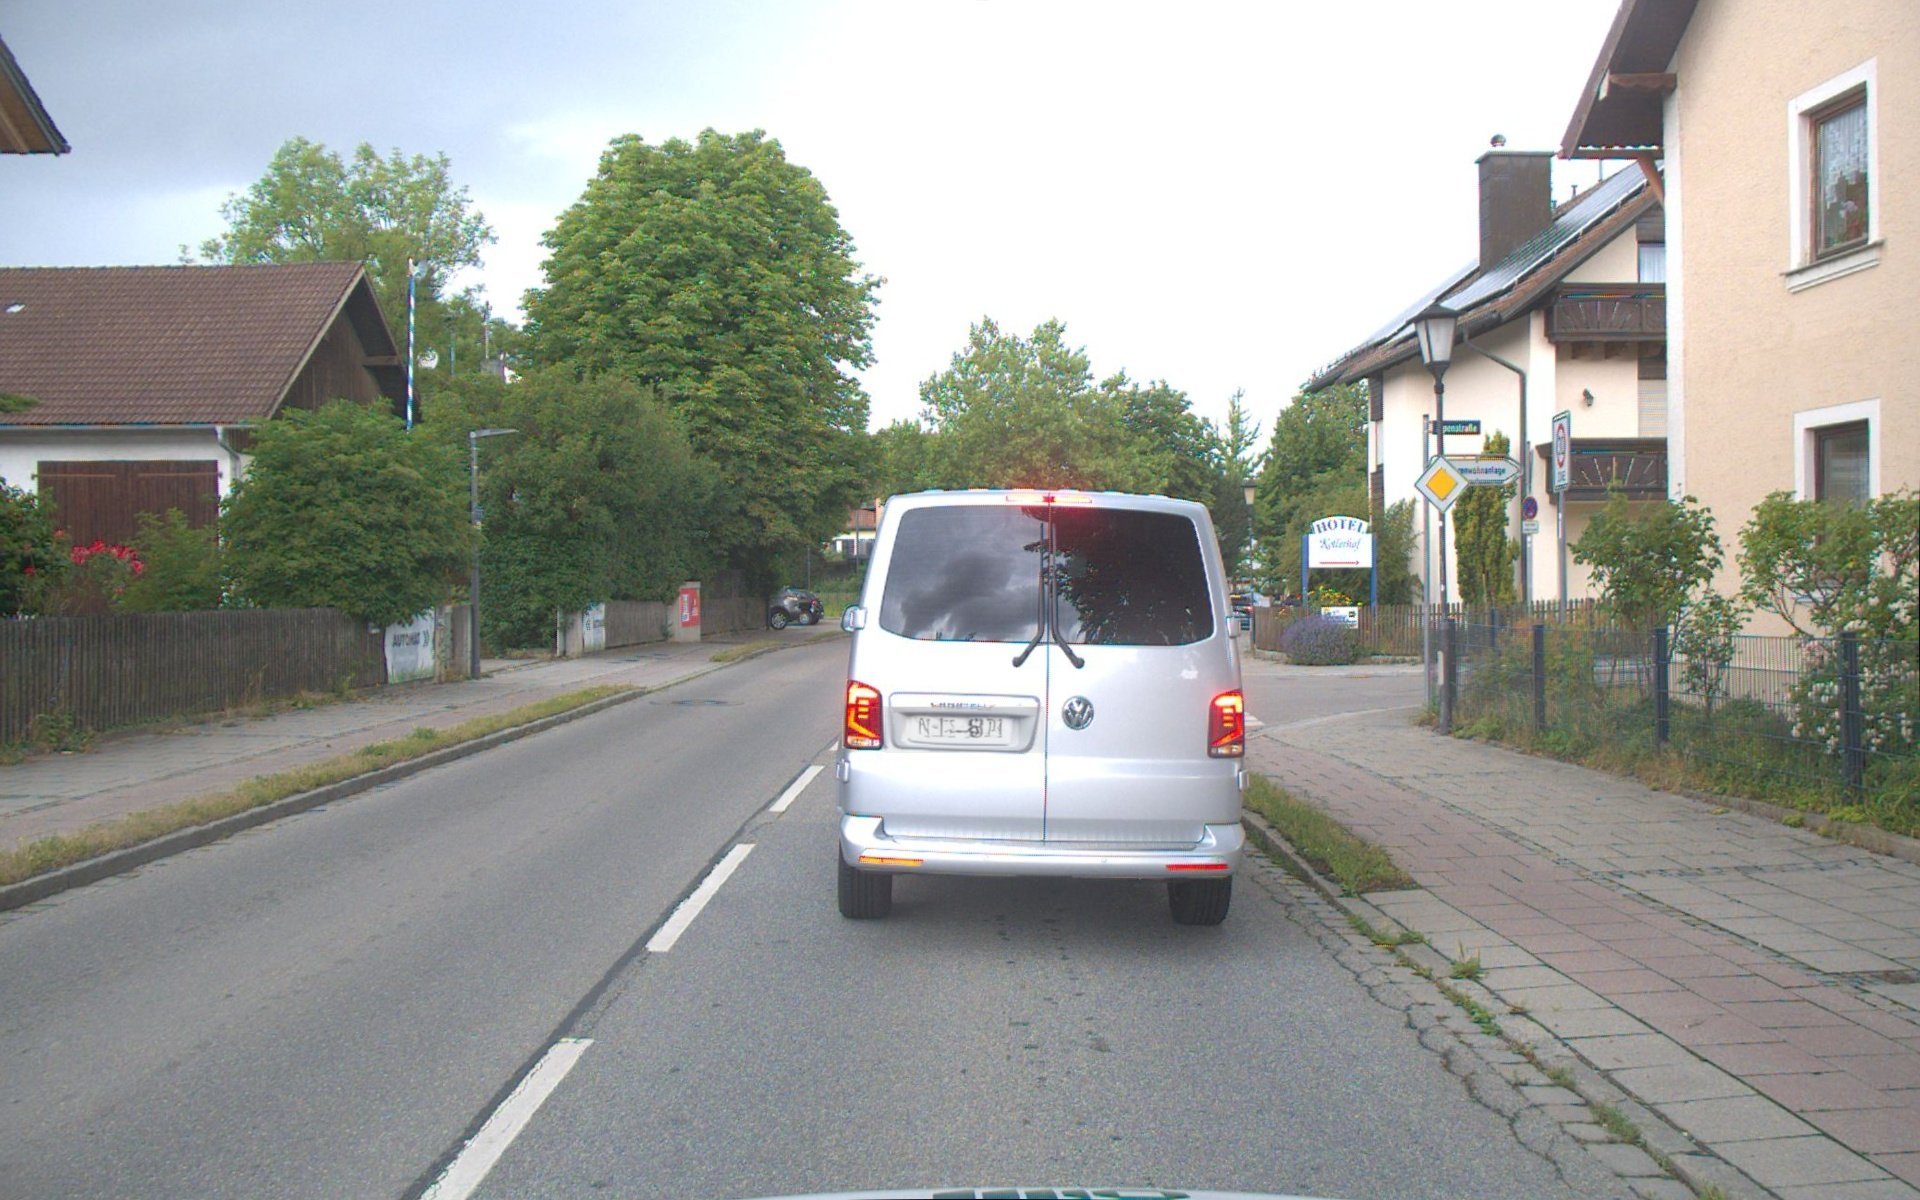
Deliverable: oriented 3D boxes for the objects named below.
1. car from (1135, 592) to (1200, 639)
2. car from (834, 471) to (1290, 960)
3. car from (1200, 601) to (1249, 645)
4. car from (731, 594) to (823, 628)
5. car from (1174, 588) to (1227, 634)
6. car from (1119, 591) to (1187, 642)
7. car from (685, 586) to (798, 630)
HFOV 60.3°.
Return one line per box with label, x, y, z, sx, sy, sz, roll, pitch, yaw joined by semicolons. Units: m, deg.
car;7.213;0.501;57.213;1.841;1.562;3.924;0;0;13
car;0.416;0.460;8.683;1.843;1.974;3.920;0;0;0
car;11.645;0.989;72.687;1.841;1.857;3.924;0;0;13
car;-7.638;0.436;68.891;3.683;1.369;1.579;0;0;-11
car;9.599;0.412;65.904;1.841;1.779;4.084;-1;0;12
car;6.142;0.494;52.316;1.841;1.562;3.924;0;0;11
car;-7.763;0.275;58.689;3.913;1.512;1.996;0;0;-9
